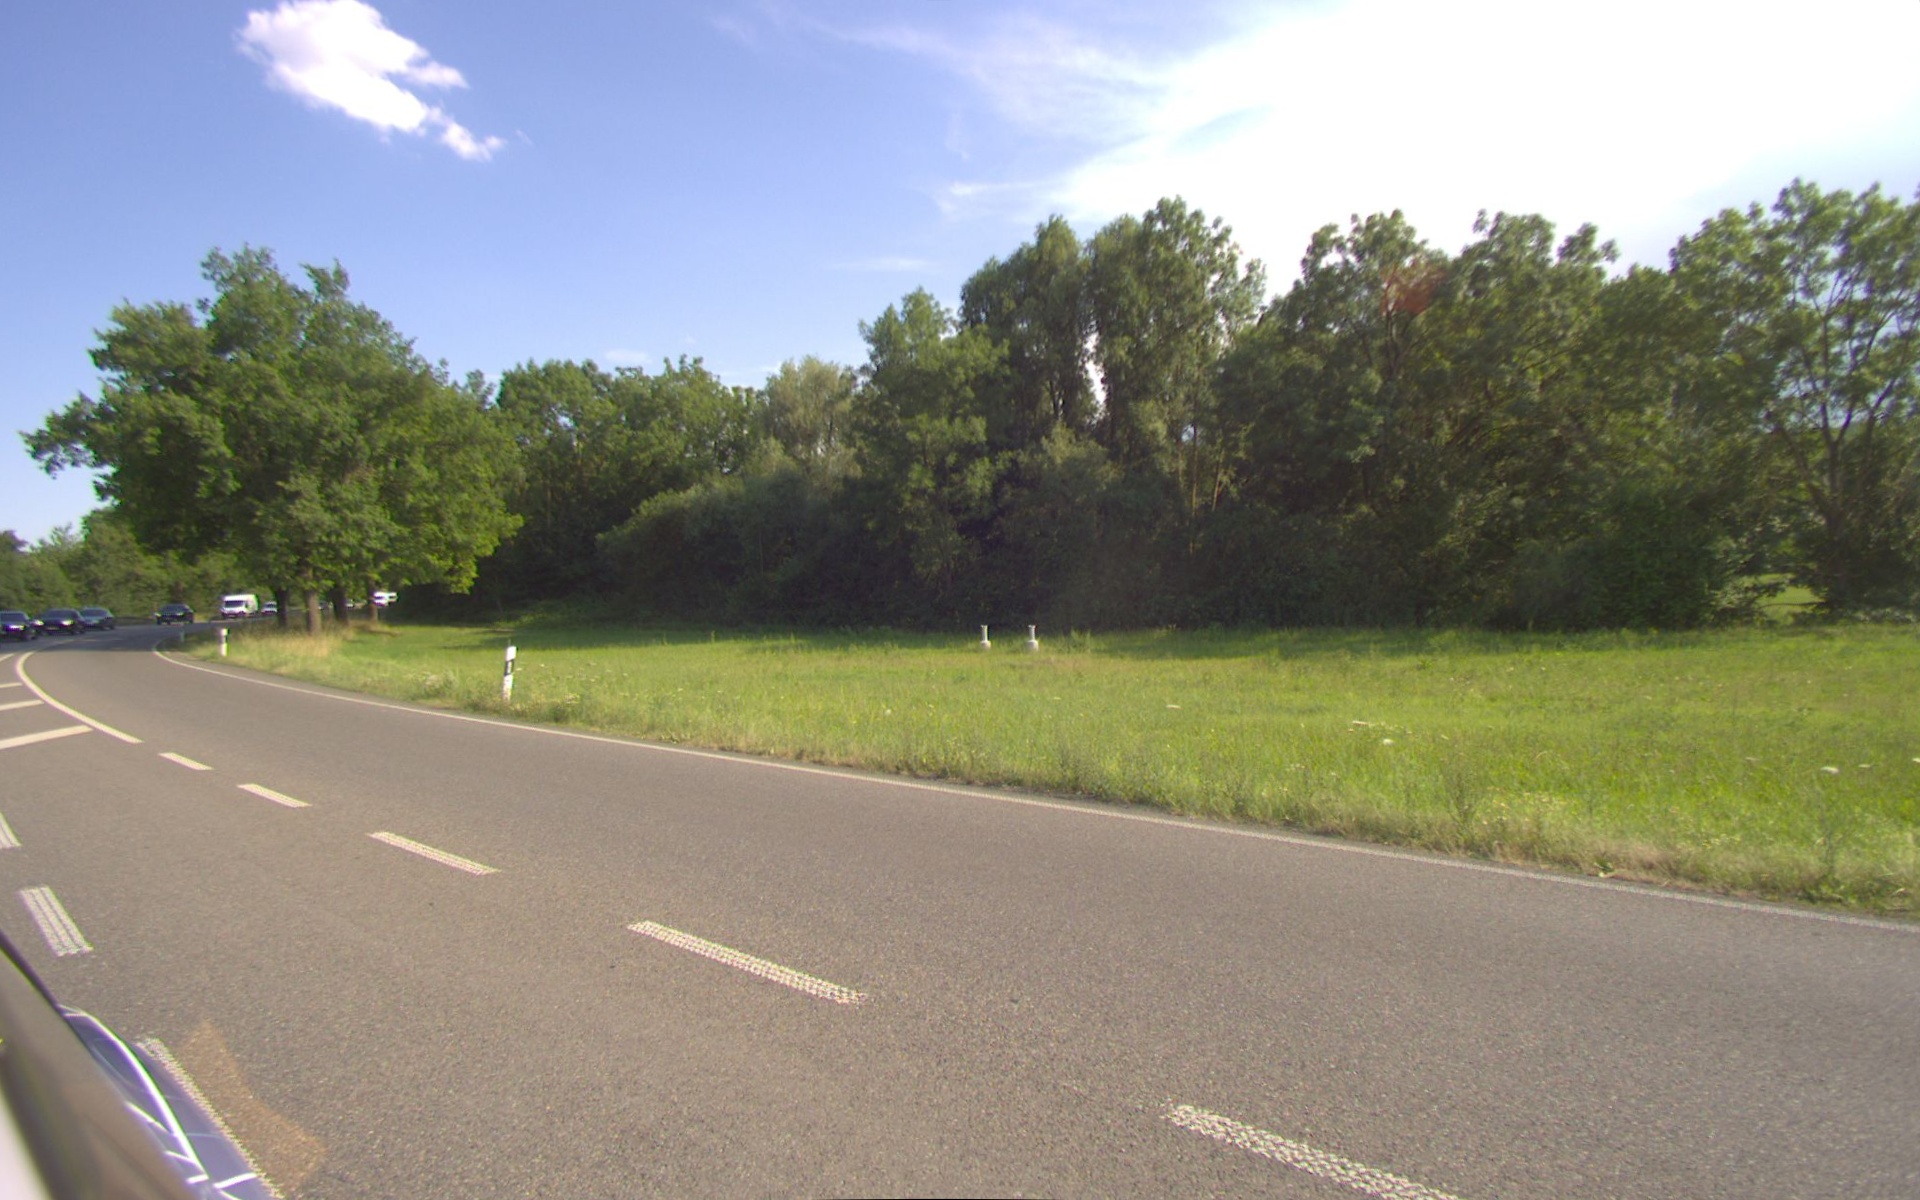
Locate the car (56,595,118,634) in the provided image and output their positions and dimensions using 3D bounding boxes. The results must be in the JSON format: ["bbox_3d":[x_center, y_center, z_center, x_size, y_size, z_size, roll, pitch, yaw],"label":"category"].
[{"bbox_3d":[-57.481,0.898,66.729,2.054,2.435,5.158,-1,0,-29],"label":"car"}]

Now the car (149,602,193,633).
[{"bbox_3d":[-65.094,1.416,83.600,2.054,2.435,5.158,-1,0,-29],"label":"car"}]

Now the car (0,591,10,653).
[{"bbox_3d":[-38.037,0.863,38.304,2.055,2.435,5.157,-1,0,-32],"label":"car"}]

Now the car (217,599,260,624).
[{"bbox_3d":[-74.407,1.125,104.443,2.054,2.435,5.158,-1,0,-18],"label":"car"}]

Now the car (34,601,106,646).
[{"bbox_3d":[-51.506,1.299,58.671,2.054,2.435,5.158,-1,0,-29],"label":"car"}]

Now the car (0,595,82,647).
[{"bbox_3d":[-44.997,0.964,49.490,2.054,2.435,5.158,-1,0,-29],"label":"car"}]

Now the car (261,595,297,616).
[{"bbox_3d":[-78.559,0.609,116.838,2.054,2.435,5.158,-1,0,-18],"label":"car"}]

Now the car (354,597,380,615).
[{"bbox_3d":[-82.163,0.782,140.262,2.054,2.435,5.158,-1,0,-18],"label":"car"}]
